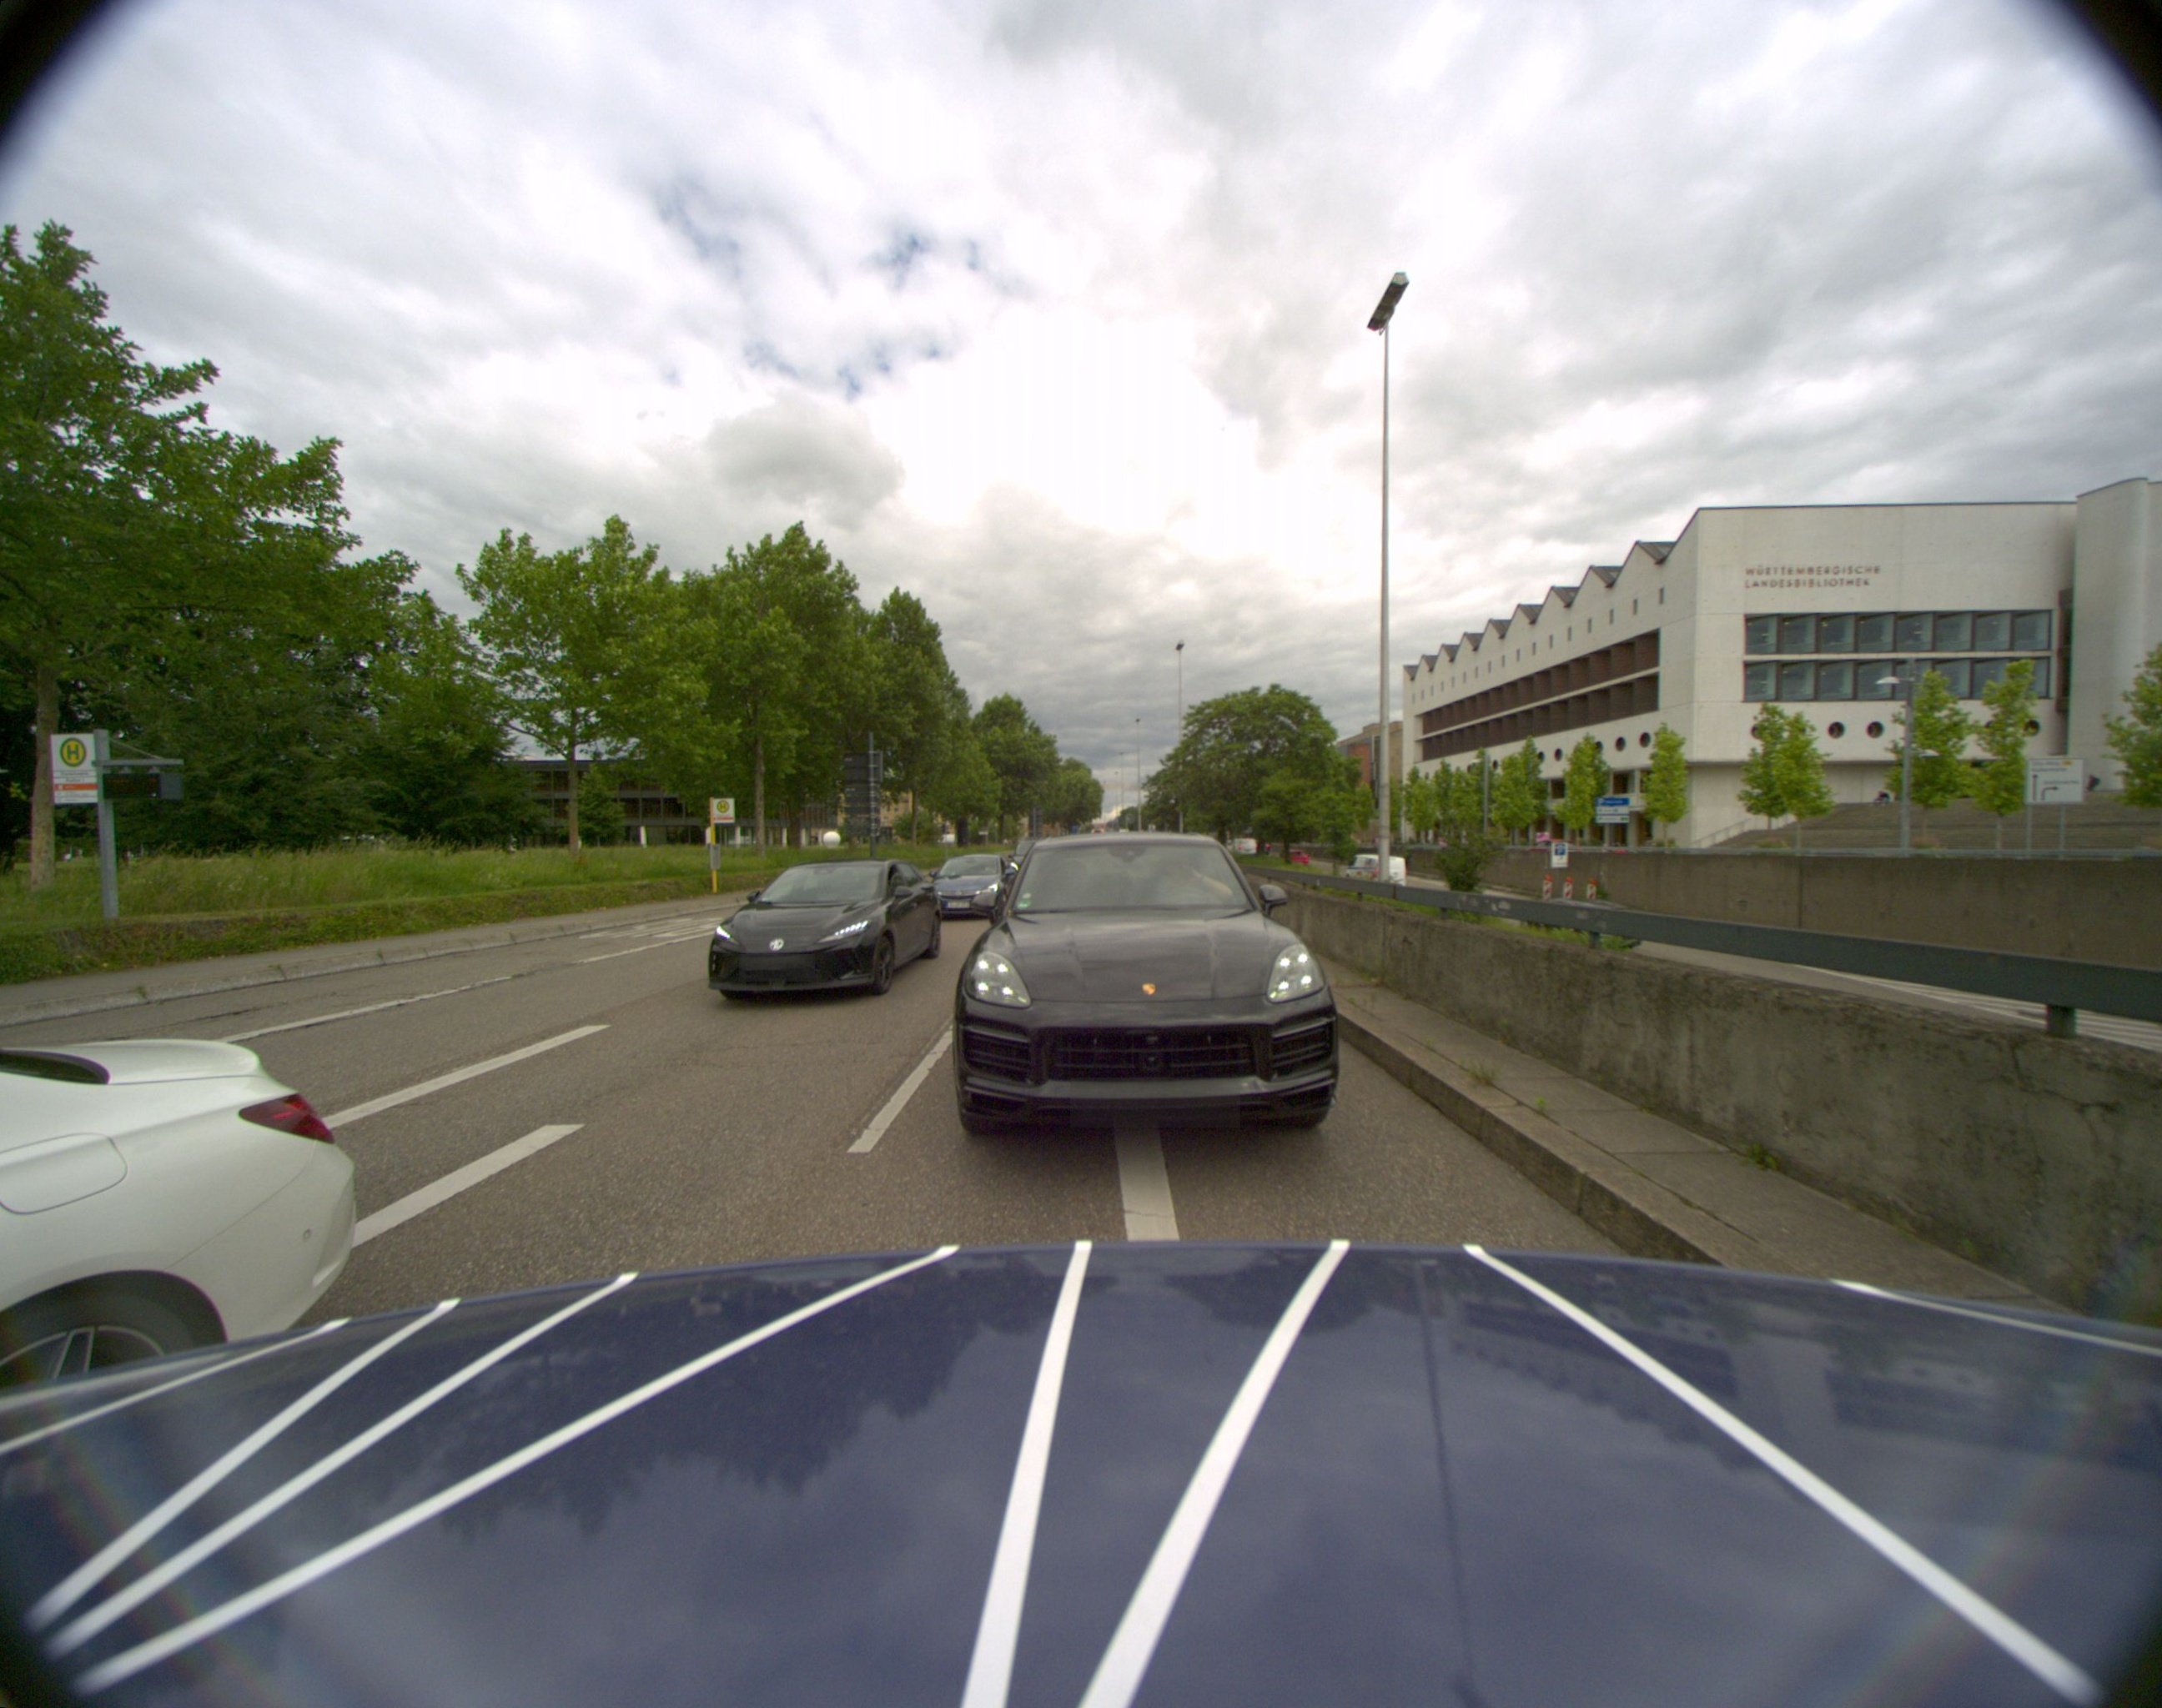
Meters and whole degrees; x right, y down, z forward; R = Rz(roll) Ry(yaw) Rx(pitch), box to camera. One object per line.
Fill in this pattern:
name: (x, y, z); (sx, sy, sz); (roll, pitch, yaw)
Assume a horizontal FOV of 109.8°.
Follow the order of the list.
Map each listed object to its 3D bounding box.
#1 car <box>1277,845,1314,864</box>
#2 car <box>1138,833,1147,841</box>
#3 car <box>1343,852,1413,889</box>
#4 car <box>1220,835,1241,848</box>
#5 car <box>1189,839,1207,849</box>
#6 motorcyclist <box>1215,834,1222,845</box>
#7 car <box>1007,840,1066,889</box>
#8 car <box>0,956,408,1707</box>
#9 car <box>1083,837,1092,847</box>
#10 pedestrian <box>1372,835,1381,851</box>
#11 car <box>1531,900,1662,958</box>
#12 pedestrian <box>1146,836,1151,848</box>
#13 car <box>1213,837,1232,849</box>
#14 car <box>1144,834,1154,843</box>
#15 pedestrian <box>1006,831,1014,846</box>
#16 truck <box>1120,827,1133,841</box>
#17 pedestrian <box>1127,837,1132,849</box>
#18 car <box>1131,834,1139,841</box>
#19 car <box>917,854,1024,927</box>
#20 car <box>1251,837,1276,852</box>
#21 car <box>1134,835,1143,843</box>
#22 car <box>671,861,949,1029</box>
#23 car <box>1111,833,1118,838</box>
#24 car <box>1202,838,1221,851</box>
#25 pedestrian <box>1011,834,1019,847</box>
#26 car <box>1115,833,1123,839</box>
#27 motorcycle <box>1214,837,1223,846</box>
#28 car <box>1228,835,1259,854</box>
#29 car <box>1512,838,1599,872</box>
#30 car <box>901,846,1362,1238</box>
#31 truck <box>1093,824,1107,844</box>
car: (17.695, 0.006, 62.939); (1.998, 1.477, 4.000); (-1, 1, 2)
car: (11.484, -3.210, 141.878); (1.372, 1.390, 3.721); (2, 1, 0)
car: (17.418, 0.894, 44.854); (2.223, 2.002, 5.116); (-1, 1, 2)
car: (19.840, -1.673, 100.789); (1.780, 1.481, 4.142); (0, 4, -2)
car: (17.066, -1.520, 110.690); (1.998, 1.390, 3.999); (2, 1, 0)
motorcyclist: (17.637, -1.857, 97.282); (0.671, 1.345, 0.717); (3, 4, 0)
car: (-1.793, 0.367, 32.068); (2.021, 1.823, 4.804); (-1, 1, 2)
car: (-3.187, 1.100, 0.209); (1.799, 1.412, 4.526); (-1, 1, 2)
car: (1.322, -2.489, 161.162); (1.693, 2.002, 3.999); (-3, 2, 2)
pedestrian: (35.973, -1.343, 92.443); (0.722, 2.002, 1.016); (-3, 2, 2)
car: (17.759, 2.539, 26.434); (1.880, 1.539, 3.999); (-1, 1, 1)
pedestrian: (11.094, -1.967, 124.668); (0.792, 2.002, 0.741); (-1, 0, 2)
car: (20.685, -1.607, 111.354); (1.998, 1.753, 3.999); (2, 2, 0)
car: (12.028, -2.754, 134.167); (1.372, 1.390, 3.721); (2, 1, 0)
pedestrian: (-10.159, -2.225, 109.060); (0.892, 2.002, 1.181); (-3, 2, 2)
truck: (11.189, -5.048, 187.397); (2.576, 3.289, 8.078); (-3, 2, 2)
pedestrian: (8.172, -1.888, 126.831); (0.792, 2.002, 0.741); (-1, 0, 2)
car: (11.117, -3.384, 156.399); (1.442, 1.390, 3.721); (2, 1, 0)
car: (-2.484, 0.767, 18.056); (1.805, 1.426, 4.015); (-1, 1, 2)
car: (20.838, -1.147, 86.889); (1.780, 1.481, 4.142); (0, 4, -2)
car: (11.272, -2.882, 149.126); (1.372, 1.389, 3.722); (-1, -1, -1)
car: (-3.007, 0.916, 9.481); (1.852, 1.481, 4.092); (-1, 1, 2)
car: (10.544, -5.799, 237.310); (1.998, 1.753, 3.999); (2, 2, 0)
car: (17.490, -1.332, 102.136); (1.779, 1.481, 4.143); (0, 4, 0)
pedestrian: (-10.272, -2.150, 118.481); (0.892, 2.002, 1.181); (-3, 2, 2)
car: (11.165, -5.437, 224.854); (1.998, 1.753, 3.999); (2, 2, 0)
motorcycle: (17.631, -1.626, 97.272); (0.687, 1.092, 2.049); (3, 4, 1)
car: (17.166, -1.041, 80.643); (1.999, 1.630, 5.246); (5, 3, -1)
car: (28.021, 0.050, 45.077); (2.180, 1.844, 4.735); (-1, 1, -1)
car: (0.337, 0.786, 5.566); (1.904, 1.581, 4.732); (-1, 1, 3)
truck: (3.662, -3.845, 143.088); (2.357, 3.518, 9.423); (-3, 2, 2)
